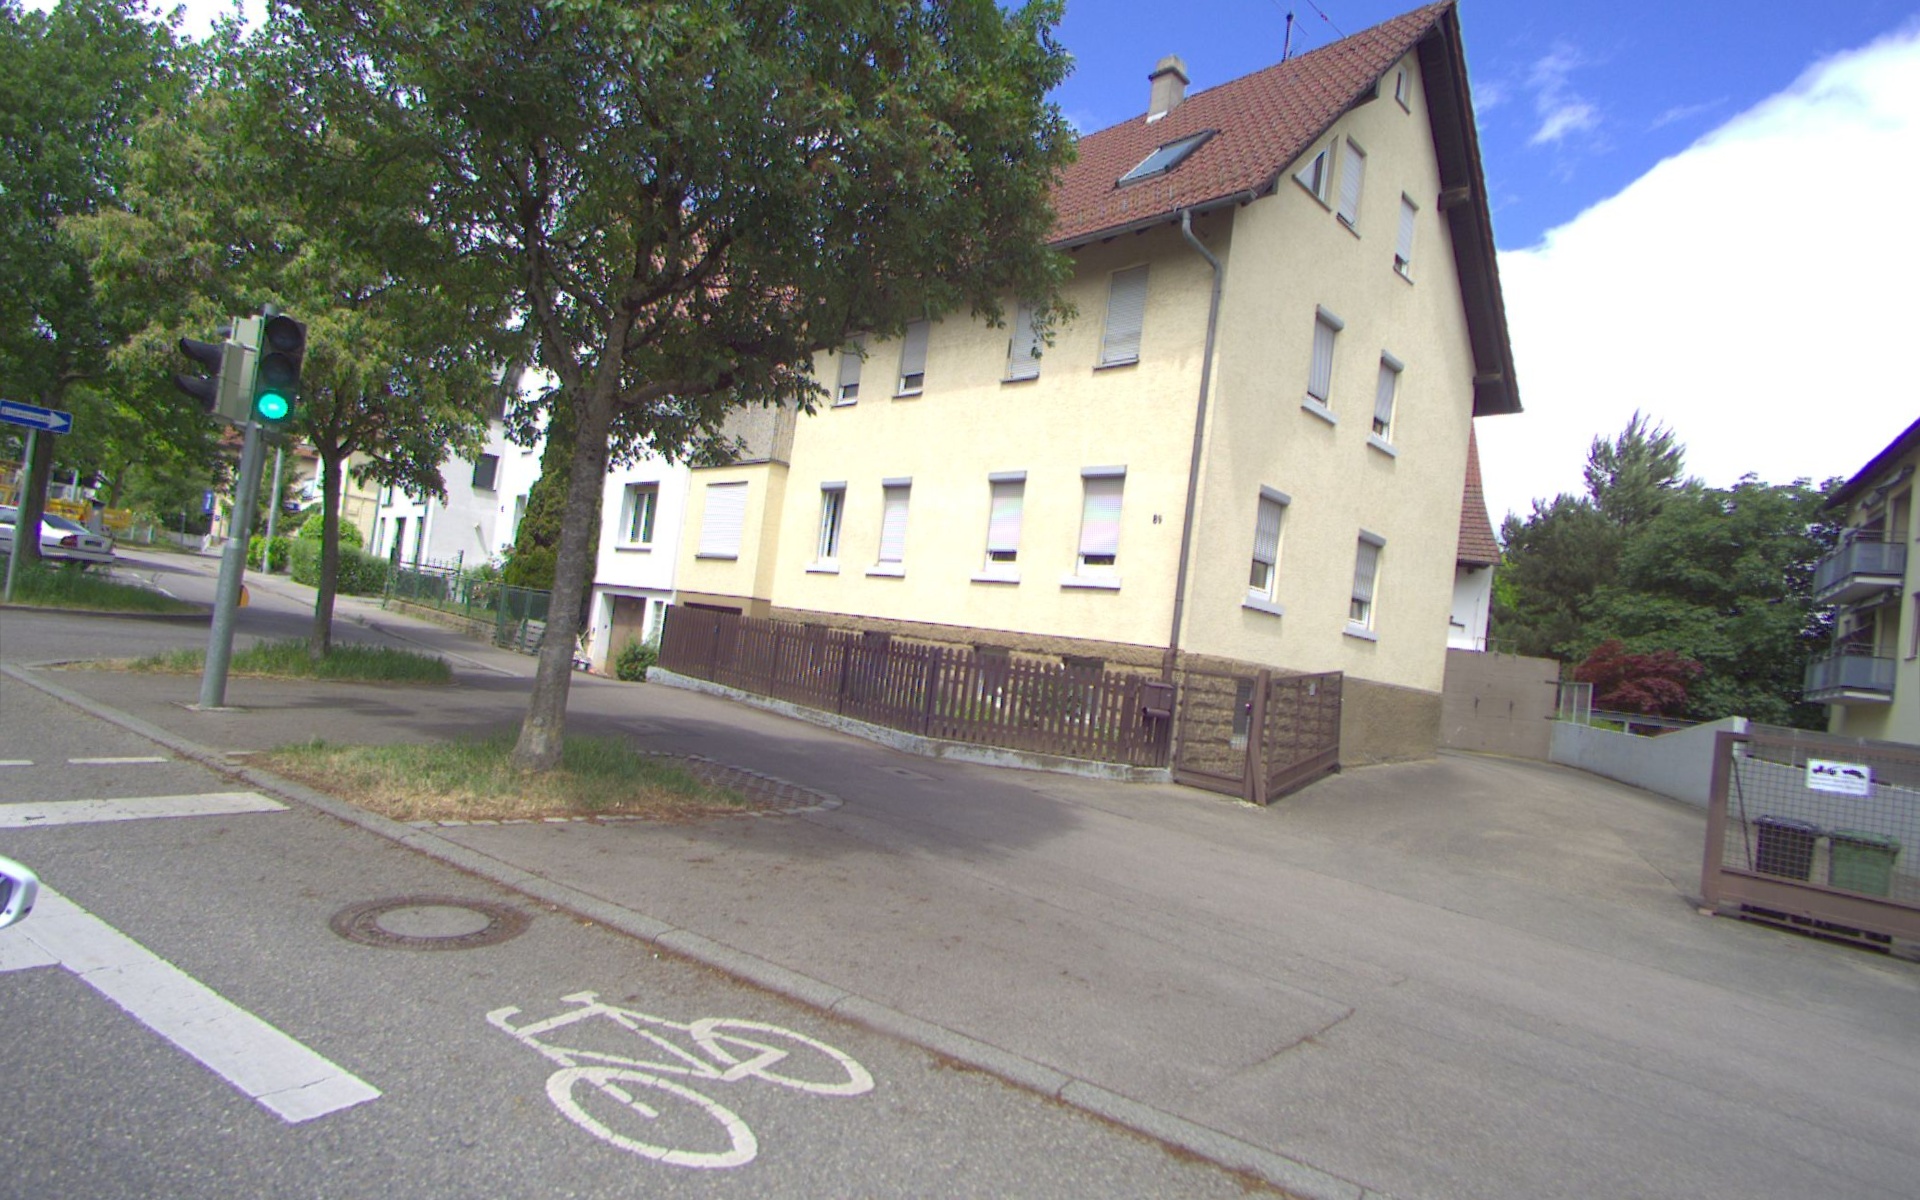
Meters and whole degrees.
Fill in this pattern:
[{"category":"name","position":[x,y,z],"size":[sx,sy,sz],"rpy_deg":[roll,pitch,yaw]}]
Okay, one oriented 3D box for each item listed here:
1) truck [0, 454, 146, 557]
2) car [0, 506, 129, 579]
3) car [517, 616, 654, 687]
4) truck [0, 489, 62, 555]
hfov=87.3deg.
[{"category":"truck","position":[-36.594,-3.911,39.291],"size":[6.594,3.038,2.772],"rpy_deg":[9,-5,-8]},{"category":"car","position":[-25.179,-1.717,26.574],"size":[4.608,1.467,1.768],"rpy_deg":[9,-3,-5]},{"category":"car","position":[-8.567,1.138,22.852],"size":[1.460,1.135,3.827],"rpy_deg":[13,-7,-42]},{"category":"truck","position":[-36.321,-3.208,36.153],"size":[5.584,2.033,2.001],"rpy_deg":[10,-5,-8]}]
